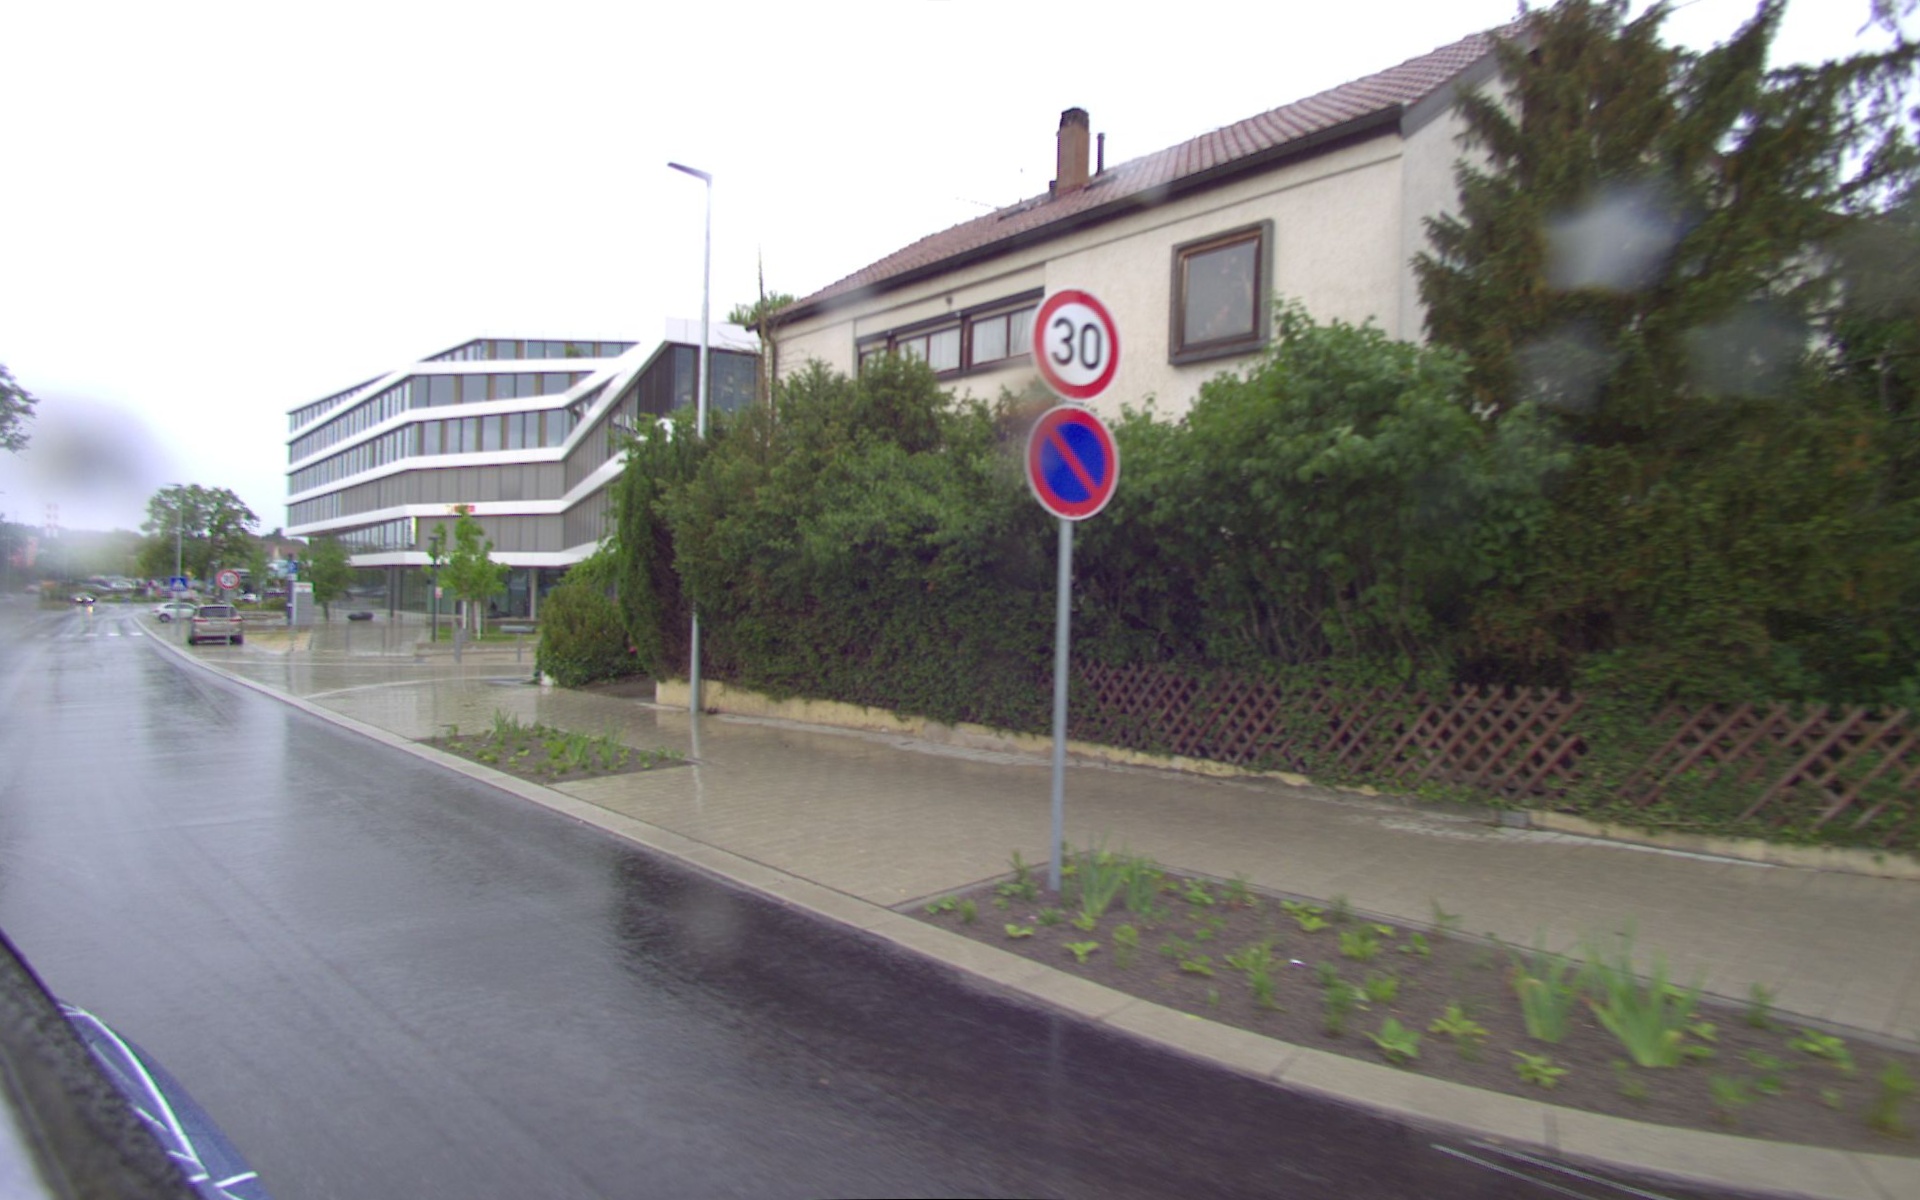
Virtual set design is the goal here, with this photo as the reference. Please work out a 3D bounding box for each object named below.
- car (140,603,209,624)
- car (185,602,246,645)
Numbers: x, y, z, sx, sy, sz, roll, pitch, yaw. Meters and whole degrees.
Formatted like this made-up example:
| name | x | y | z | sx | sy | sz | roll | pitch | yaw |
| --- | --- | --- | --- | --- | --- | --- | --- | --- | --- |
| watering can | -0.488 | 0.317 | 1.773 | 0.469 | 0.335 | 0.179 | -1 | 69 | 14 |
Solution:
| name | x | y | z | sx | sy | sz | roll | pitch | yaw |
| --- | --- | --- | --- | --- | --- | --- | --- | --- | --- |
| car | -60.516 | 1.011 | 78.047 | 4.102 | 1.430 | 2.005 | -2 | 1 | -37 |
| car | -31.531 | 0.962 | 42.809 | 1.814 | 1.719 | 4.331 | 1 | -1 | -40 |
